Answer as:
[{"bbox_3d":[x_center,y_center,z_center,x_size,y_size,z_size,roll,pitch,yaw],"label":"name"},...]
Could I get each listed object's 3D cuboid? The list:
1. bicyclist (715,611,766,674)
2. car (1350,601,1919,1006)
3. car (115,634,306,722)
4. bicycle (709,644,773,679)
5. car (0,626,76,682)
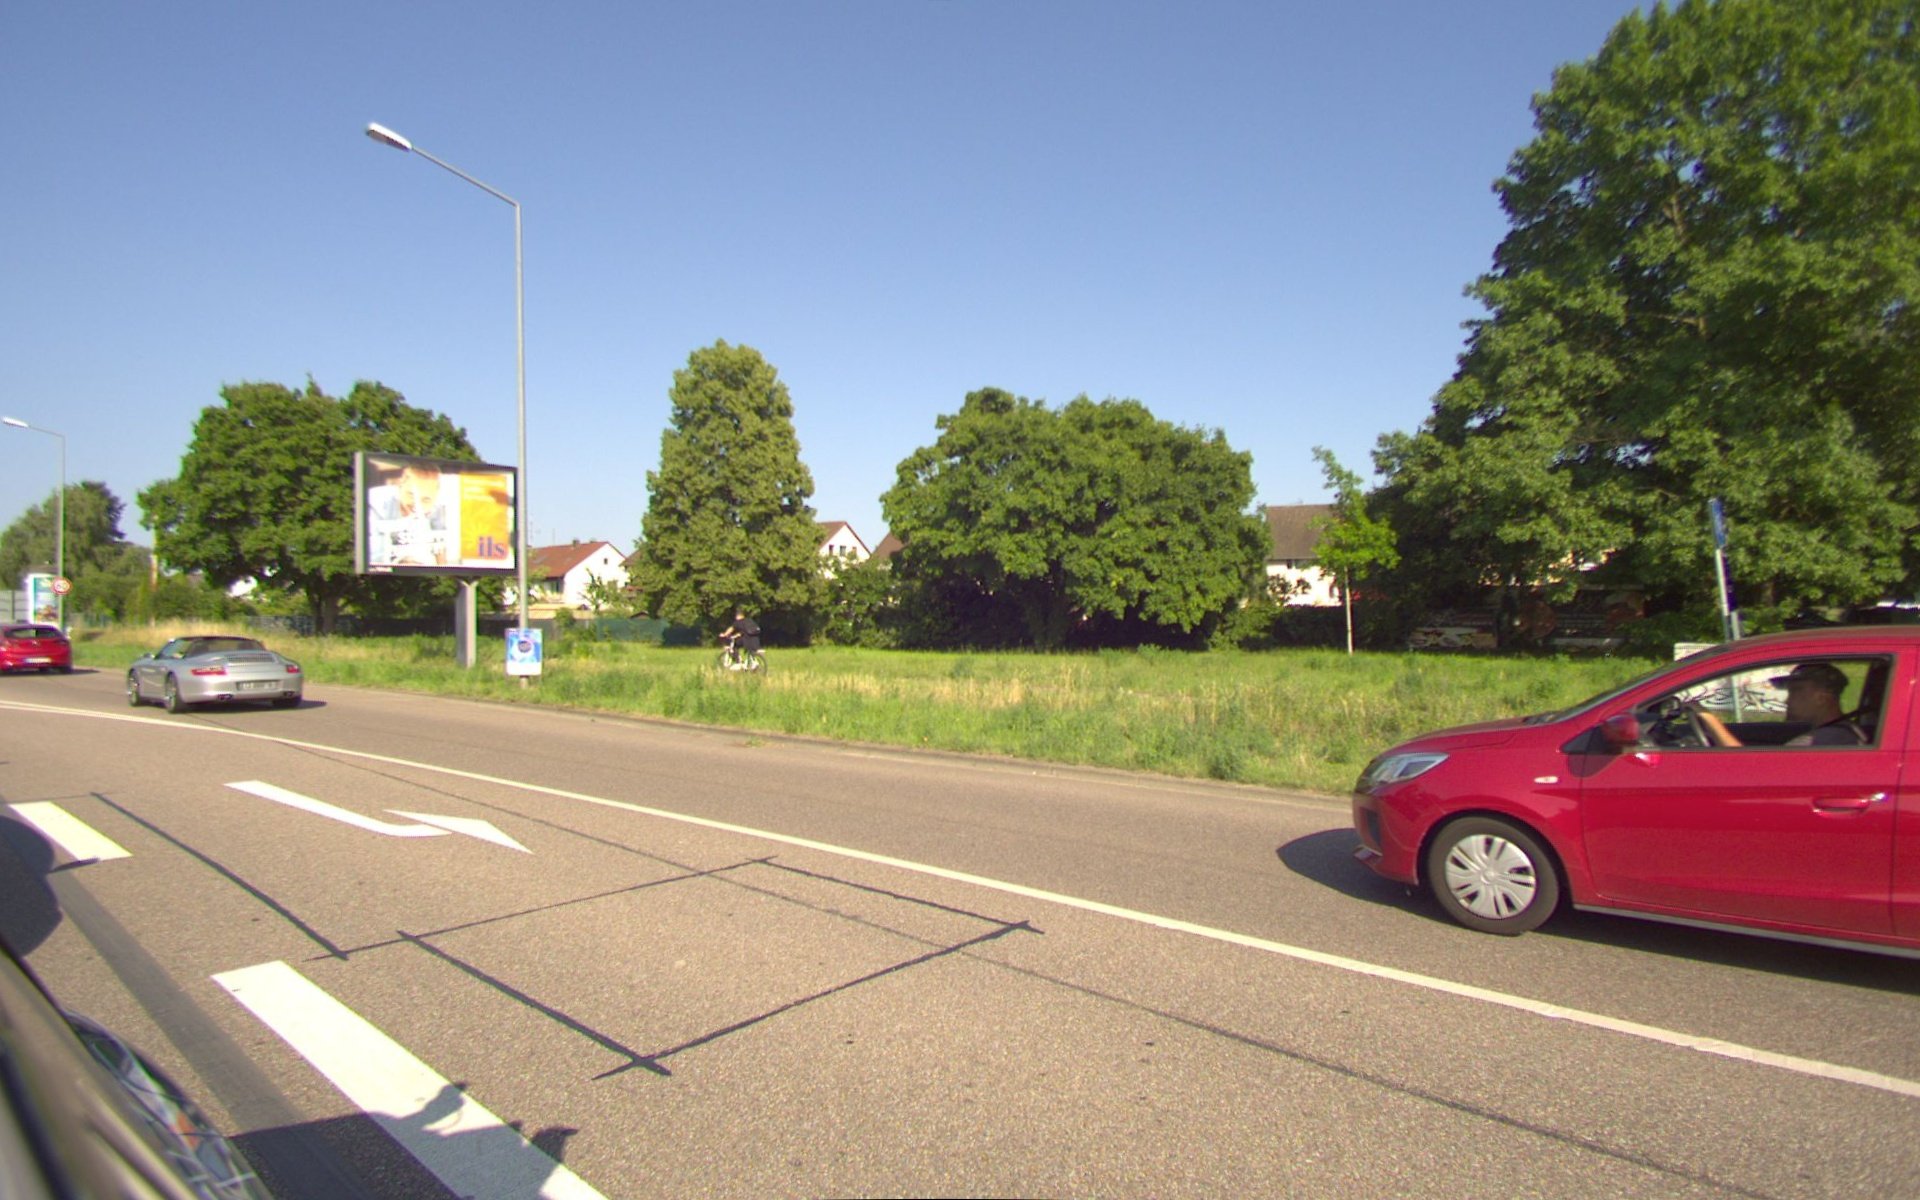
[{"bbox_3d":[-5.116,0.977,23.565,1.071,1.439,0.630,-2,-2,41],"label":"bicyclist"},{"bbox_3d":[3.926,0.785,4.604,3.673,1.510,1.677,-1,-2,40],"label":"car"},{"bbox_3d":[-13.226,1.277,17.772,4.283,1.320,1.761,-1,-1,40],"label":"car"},{"bbox_3d":[-5.126,1.411,23.600,1.833,0.759,0.449,-1,-1,41],"label":"bicycle"},{"bbox_3d":[-26.843,1.500,28.773,3.907,1.489,1.763,-1,-2,36],"label":"car"}]
